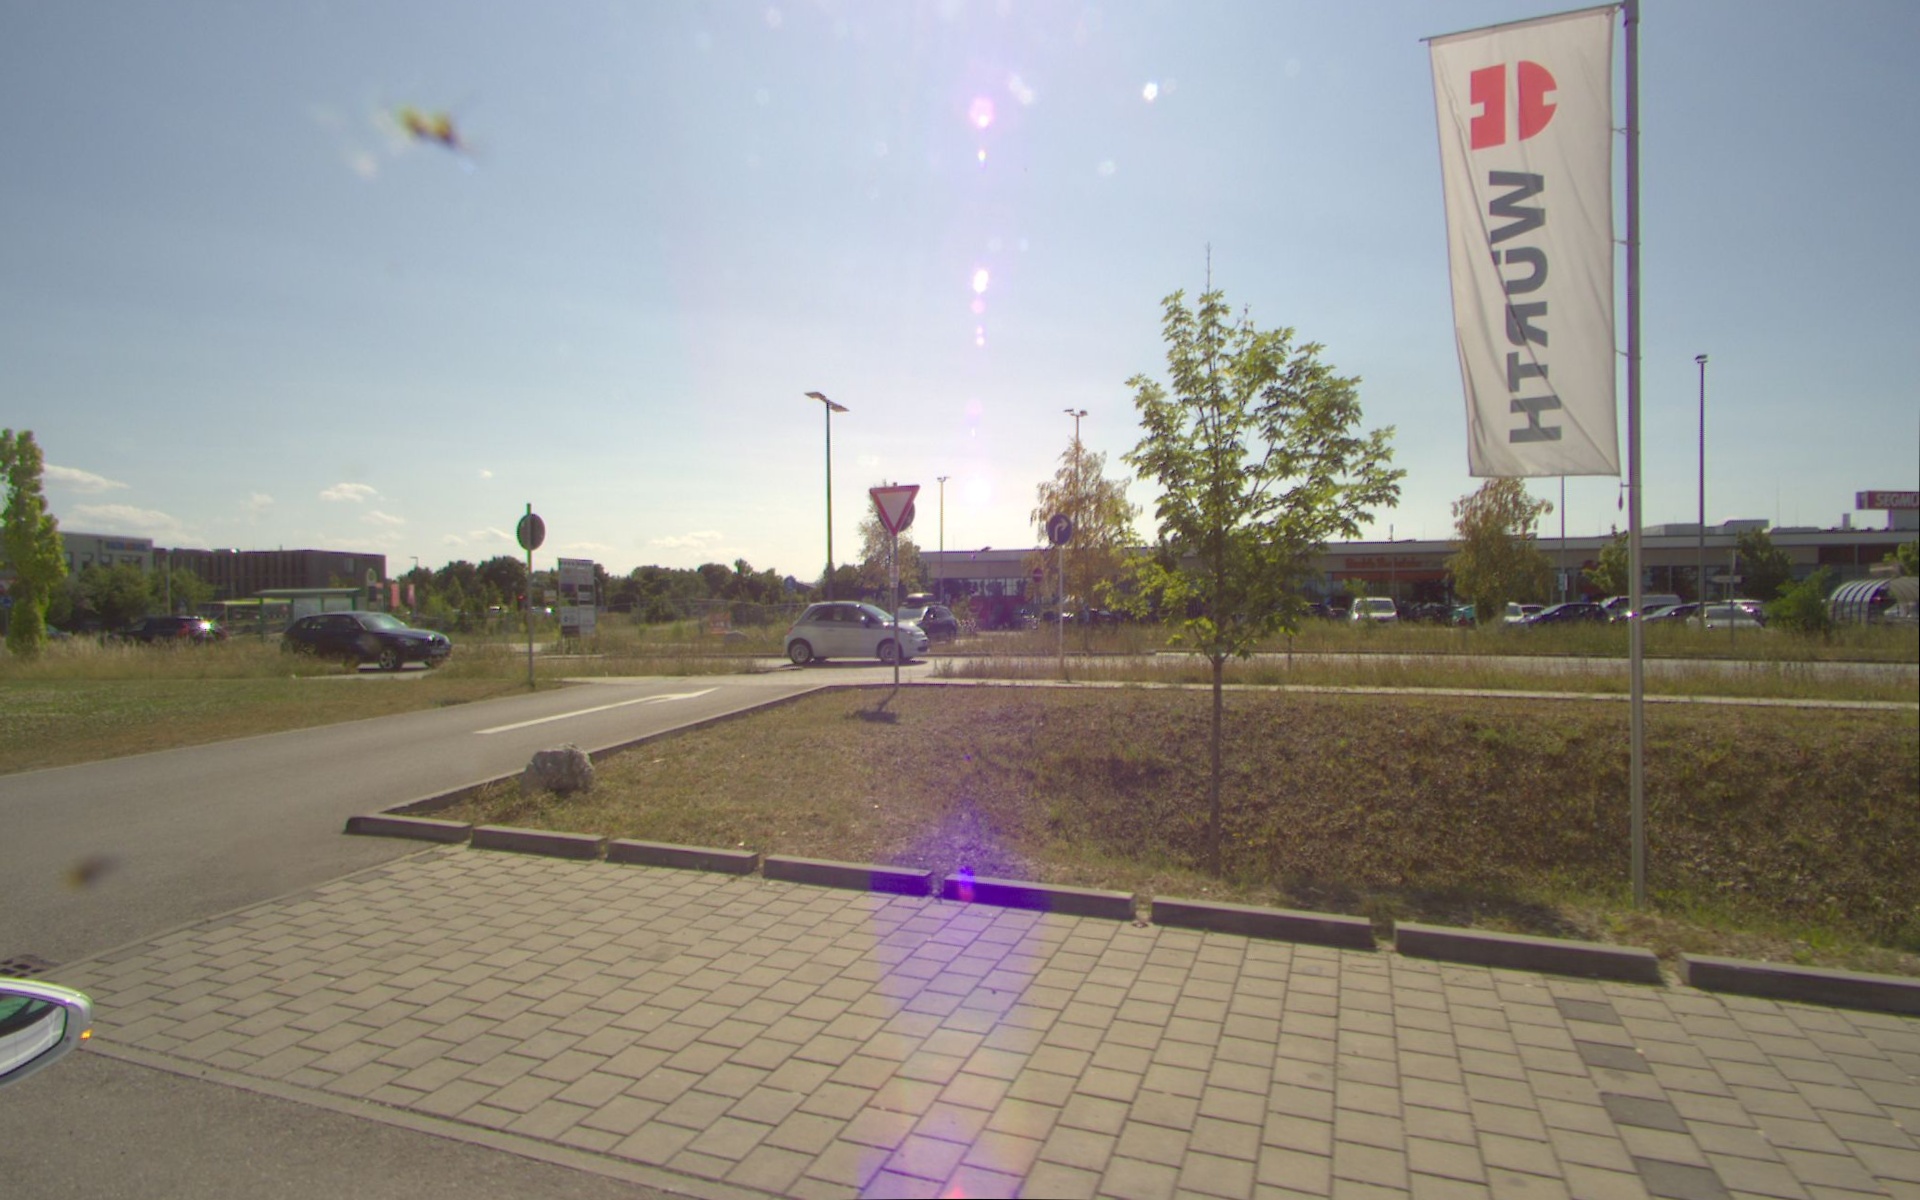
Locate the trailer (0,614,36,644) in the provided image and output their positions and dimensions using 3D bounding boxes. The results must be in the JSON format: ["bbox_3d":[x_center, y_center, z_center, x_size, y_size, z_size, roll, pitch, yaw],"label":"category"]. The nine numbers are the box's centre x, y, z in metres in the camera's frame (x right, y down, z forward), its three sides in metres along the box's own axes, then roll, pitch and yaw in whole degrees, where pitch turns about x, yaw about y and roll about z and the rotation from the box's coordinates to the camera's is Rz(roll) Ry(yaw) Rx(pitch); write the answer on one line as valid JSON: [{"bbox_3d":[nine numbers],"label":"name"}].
[{"bbox_3d":[-62.324,1.846,64.986,1.796,1.884,3.994,0,-1,-16],"label":"trailer"}]

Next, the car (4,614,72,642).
[{"bbox_3d":[-63.335,1.920,68.864,1.796,1.884,3.994,0,-1,-16],"label":"car"}]

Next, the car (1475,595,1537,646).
[{"bbox_3d":[23.110,0.851,42.511,2.130,2.040,5.097,0,-1,27],"label":"car"}]

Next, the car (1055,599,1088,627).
[{"bbox_3d":[8.551,0.968,76.392,2.187,2.003,6.694,-1,-1,9],"label":"car"}]

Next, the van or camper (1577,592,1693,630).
[{"bbox_3d":[37.553,0.596,55.879,4.959,2.040,1.998,0,0,15],"label":"van or camper"}]

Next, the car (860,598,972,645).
[{"bbox_3d":[-1.488,0.765,35.353,1.971,1.536,4.176,0,-1,32],"label":"car"}]

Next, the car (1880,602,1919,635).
[{"bbox_3d":[47.507,0.903,48.330,4.270,1.540,1.654,0,-1,15],"label":"car"}]

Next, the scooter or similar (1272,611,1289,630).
[{"bbox_3d":[18.597,1.189,58.121,0.929,1.093,0.651,0,0,18],"label":"scooter or similar"}]

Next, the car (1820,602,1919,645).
[{"bbox_3d":[48.817,1.230,53.157,4.398,2.220,2.000,0,-1,7],"label":"car"}]

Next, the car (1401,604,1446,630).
[{"bbox_3d":[32.491,1.177,70.299,1.962,1.729,3.997,0,0,12],"label":"car"}]

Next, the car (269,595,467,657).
[{"bbox_3d":[-15.780,0.687,26.807,4.303,1.571,1.914,0,-1,8],"label":"car"}]

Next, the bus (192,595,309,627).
[{"bbox_3d":[-65.341,0.991,92.722,2.530,2.771,11.568,0,0,0],"label":"bus"}]

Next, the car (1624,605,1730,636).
[{"bbox_3d":[36.192,1.040,50.633,3.926,1.527,1.873,0,-1,15],"label":"car"}]

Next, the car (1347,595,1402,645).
[{"bbox_3d":[18.331,0.862,44.428,2.051,2.040,5.217,0,-1,20],"label":"car"}]

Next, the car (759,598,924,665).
[{"bbox_3d":[-2.894,0.767,24.819,3.711,1.571,1.741,0,-1,11],"label":"car"}]

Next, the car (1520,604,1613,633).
[{"bbox_3d":[30.963,0.947,51.201,3.661,1.409,1.731,-1,0,10],"label":"car"}]

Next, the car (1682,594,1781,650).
[{"bbox_3d":[30.122,0.820,39.295,2.130,2.040,5.097,0,-1,27],"label":"car"}]

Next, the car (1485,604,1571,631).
[{"bbox_3d":[30.583,0.963,54.003,3.661,1.409,1.731,-1,0,10],"label":"car"}]

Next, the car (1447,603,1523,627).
[{"bbox_3d":[31.346,0.913,59.920,3.661,1.409,1.731,-1,0,10],"label":"car"}]
